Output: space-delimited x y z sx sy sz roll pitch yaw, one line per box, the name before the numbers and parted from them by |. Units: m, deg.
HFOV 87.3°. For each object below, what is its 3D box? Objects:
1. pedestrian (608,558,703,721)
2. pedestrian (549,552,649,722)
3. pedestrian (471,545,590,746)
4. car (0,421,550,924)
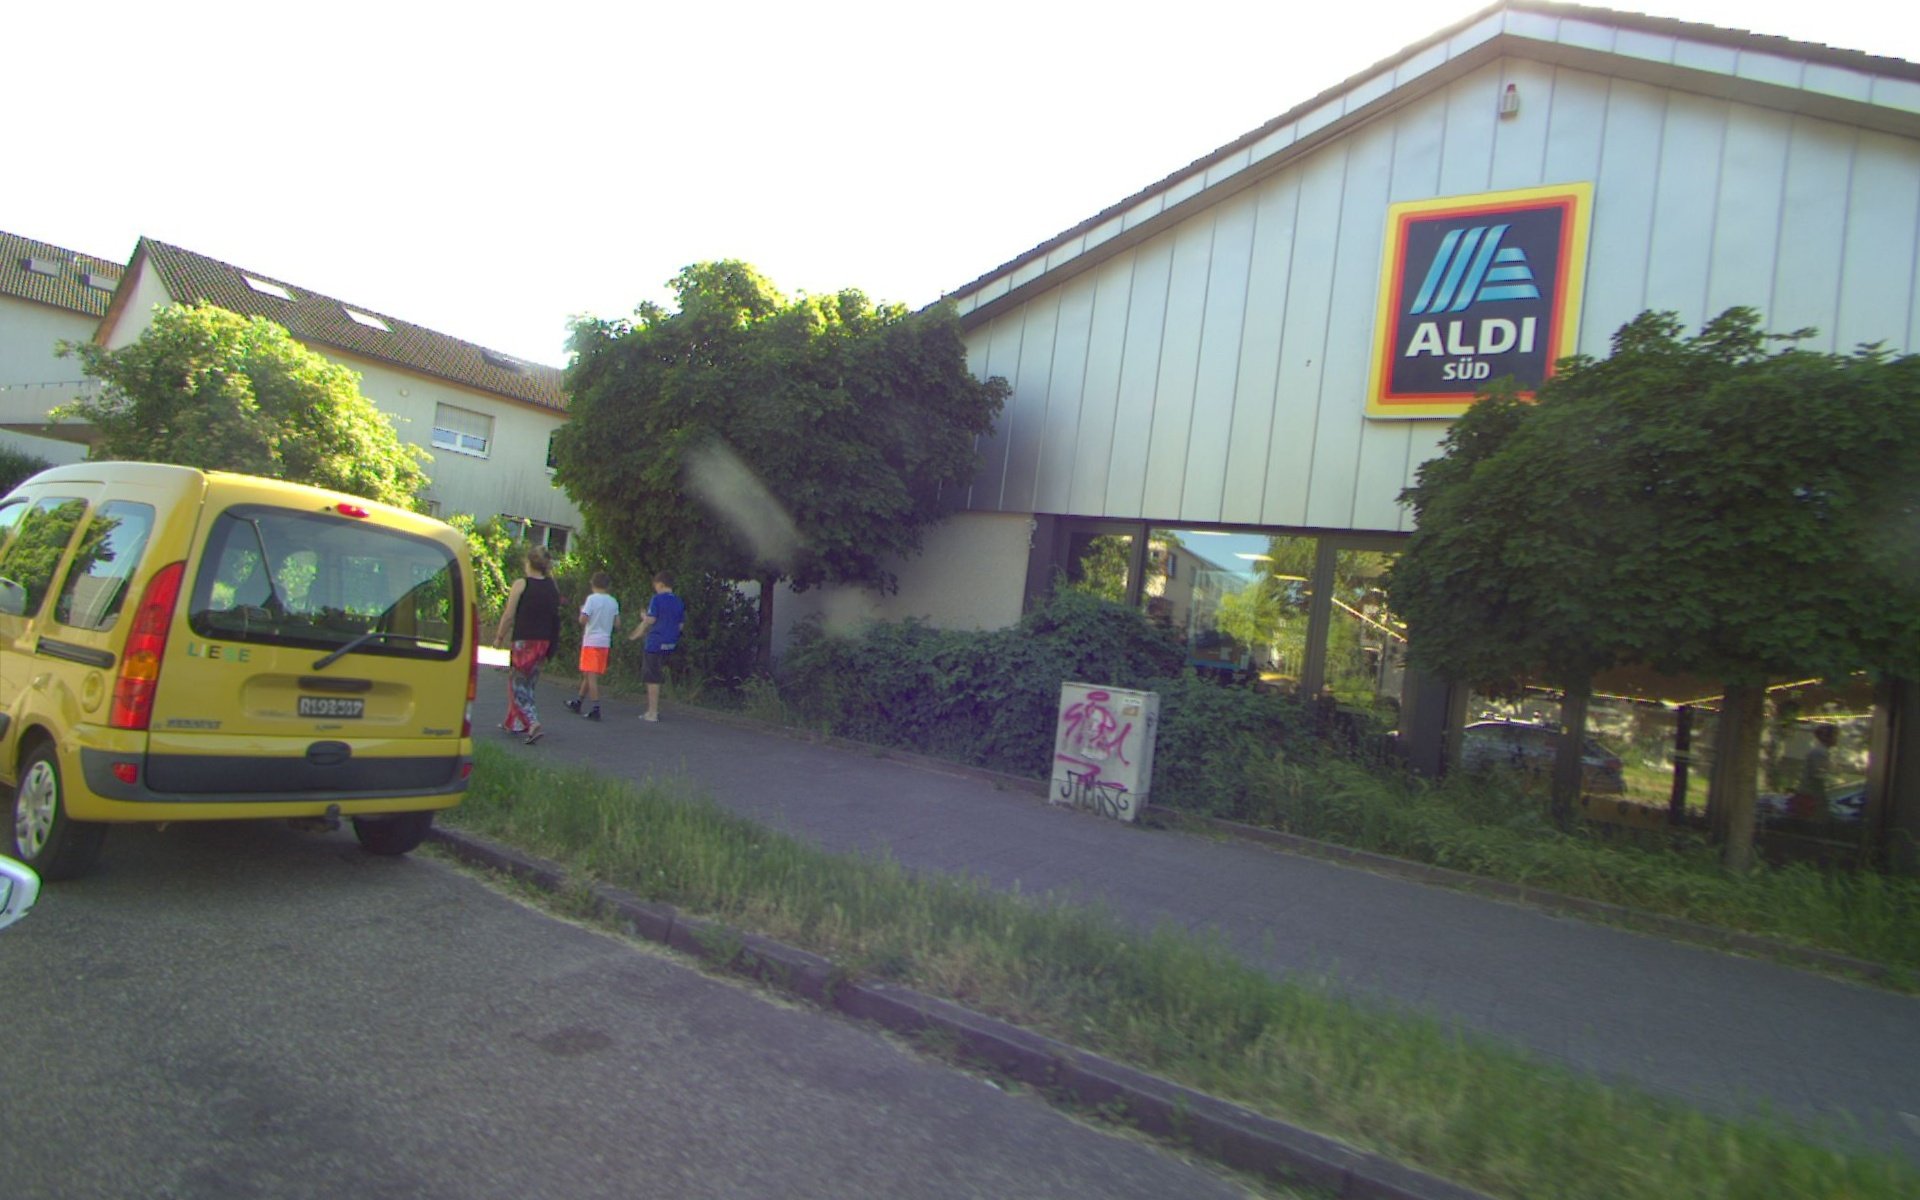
pedestrian | -3.261 0.431 10.776 0.538 1.656 0.567 7 -1 37
pedestrian | -3.705 0.387 10.333 0.538 1.656 0.567 7 -1 37
pedestrian | -3.728 0.402 8.751 0.538 1.656 0.567 7 -1 37
car | -4.322 0.187 5.485 3.935 1.858 1.728 6 -3 33
